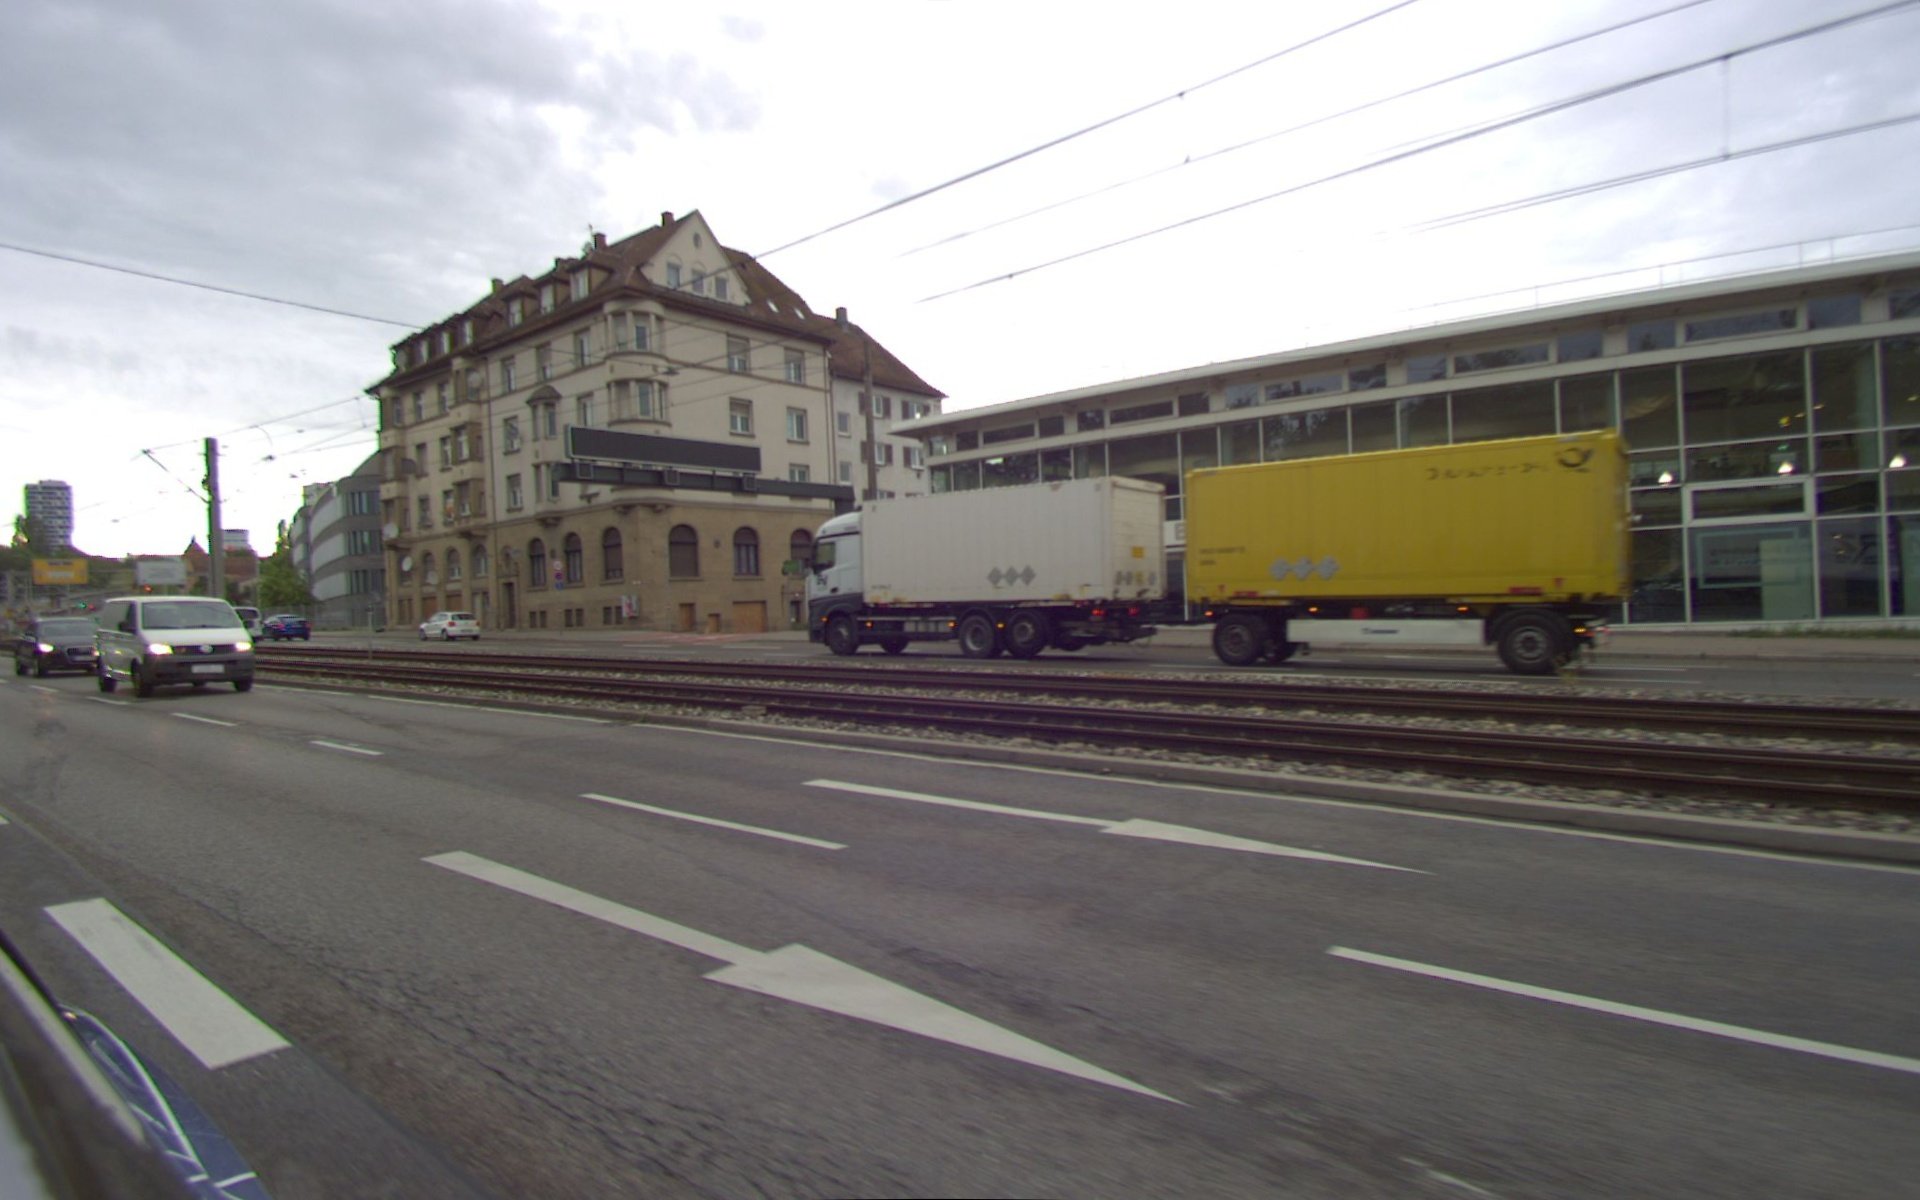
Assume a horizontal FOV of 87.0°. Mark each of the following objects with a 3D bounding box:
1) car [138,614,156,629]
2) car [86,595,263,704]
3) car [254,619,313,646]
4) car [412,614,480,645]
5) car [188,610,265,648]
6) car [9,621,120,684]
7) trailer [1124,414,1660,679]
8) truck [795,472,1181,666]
[{"bbox_3d":[-138.981,3.622,173.043,2.302,2.486,7.040,0,0,-38],"label":"car"},{"bbox_3d":[-16.208,0.961,20.786,4.713,1.973,1.890,-2,0,40],"label":"car"},{"bbox_3d":[-38.418,1.834,57.429,4.327,1.444,1.590,-2,0,39],"label":"car"},{"bbox_3d":[-25.728,1.473,50.609,3.847,1.415,1.664,-2,-1,39],"label":"car"},{"bbox_3d":[-38.790,1.523,53.492,5.186,1.888,1.974,-2,0,39],"label":"car"},{"bbox_3d":[-24.670,1.406,27.839,3.892,1.585,1.687,-2,-1,39],"label":"car"},{"bbox_3d":[7.845,-0.746,19.504,9.071,4.082,2.657,-1,-1,38],"label":"trailer"},{"bbox_3d":[0.305,-0.560,25.518,10.129,4.082,2.657,-1,-1,39],"label":"truck"}]
